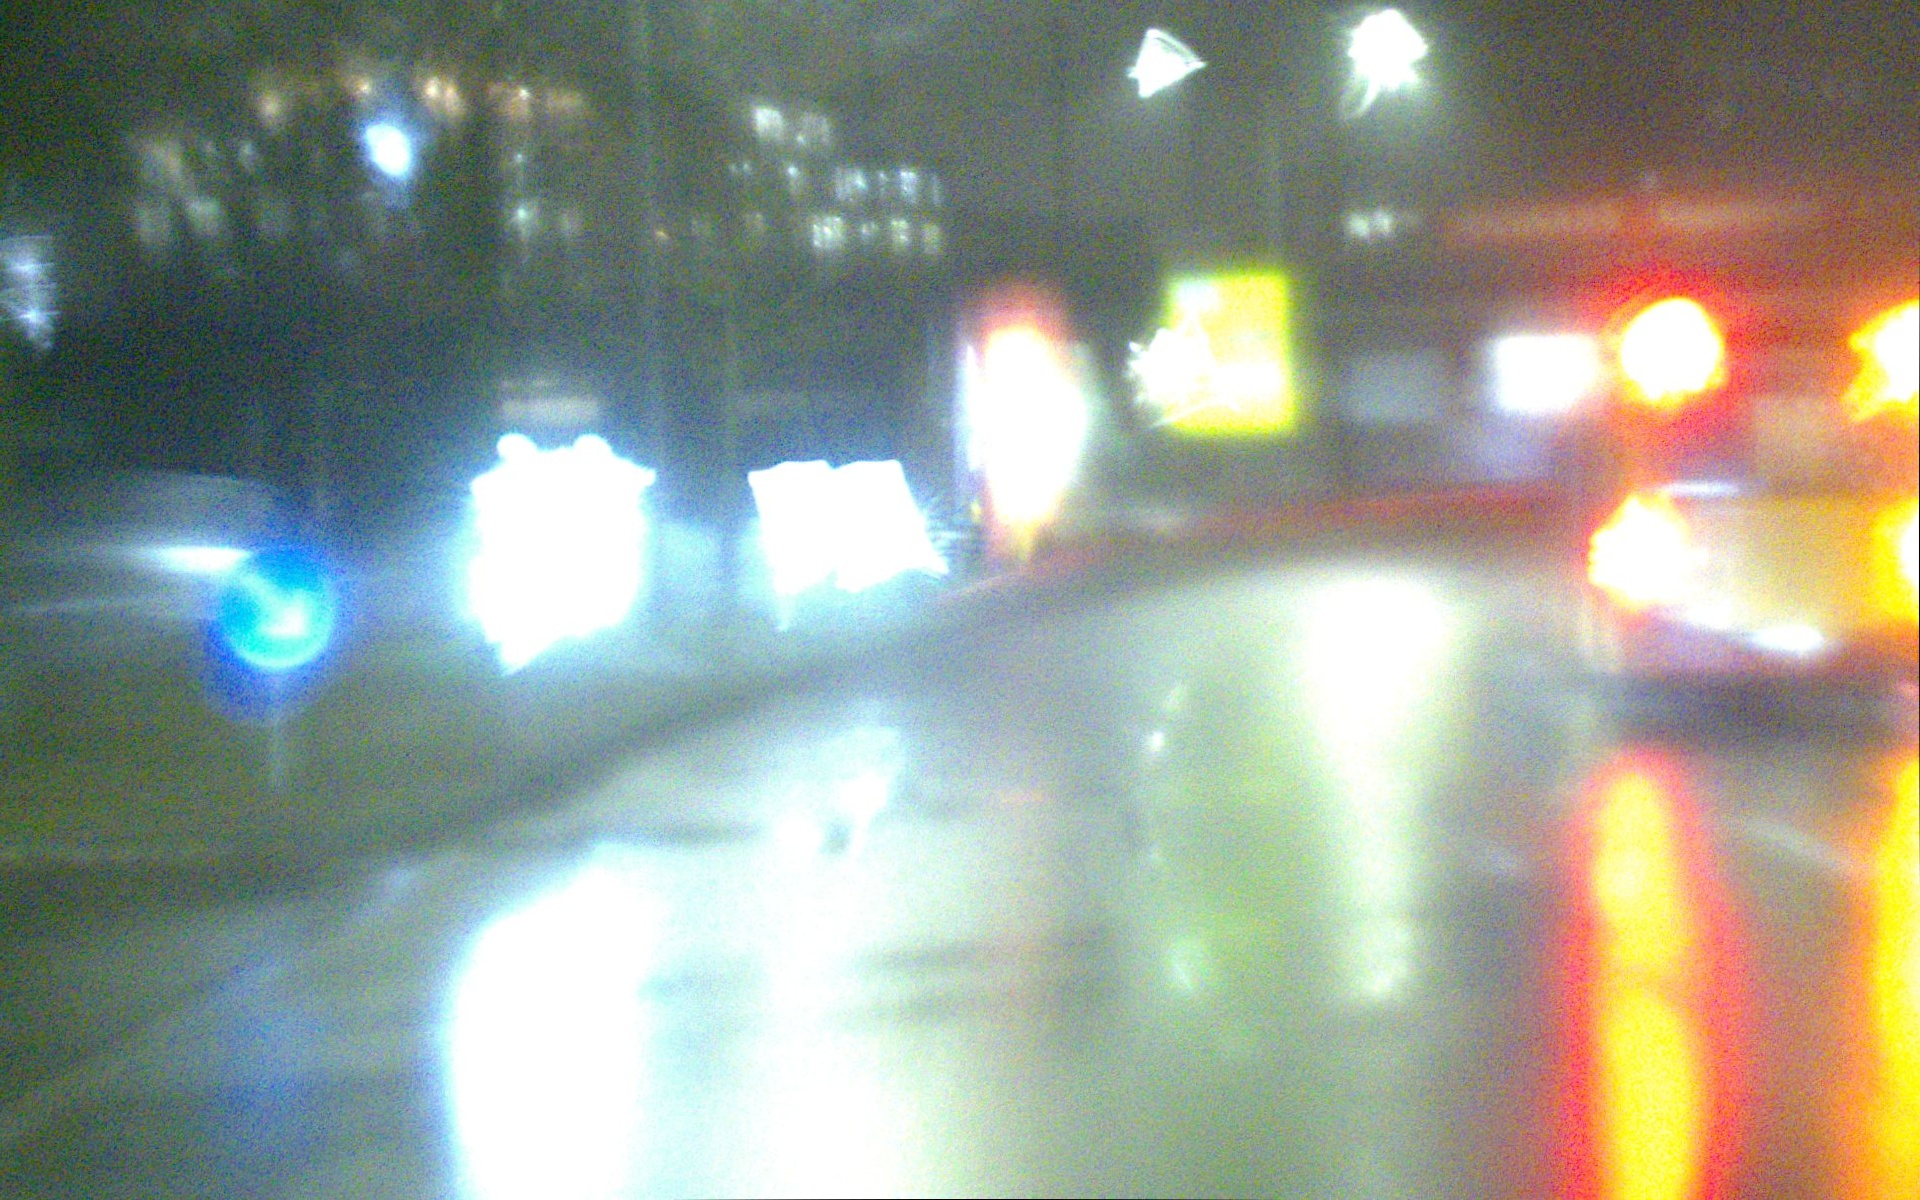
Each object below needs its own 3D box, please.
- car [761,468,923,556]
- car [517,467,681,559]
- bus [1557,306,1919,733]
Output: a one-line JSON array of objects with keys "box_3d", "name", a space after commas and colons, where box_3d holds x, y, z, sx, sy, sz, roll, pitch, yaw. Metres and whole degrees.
[{"box_3d": [-2.111, -1.626, 62.854, 1.867, 1.458, 4.637, -2, 1, 12], "name": "car"}, {"box_3d": [-6.534, -1.608, 62.651, 1.994, 1.588, 3.999, 0, 2, 9], "name": "car"}, {"box_3d": [6.845, -0.685, 30.451, 3.045, 3.201, 9.047, 0, 1, 10], "name": "bus"}]
